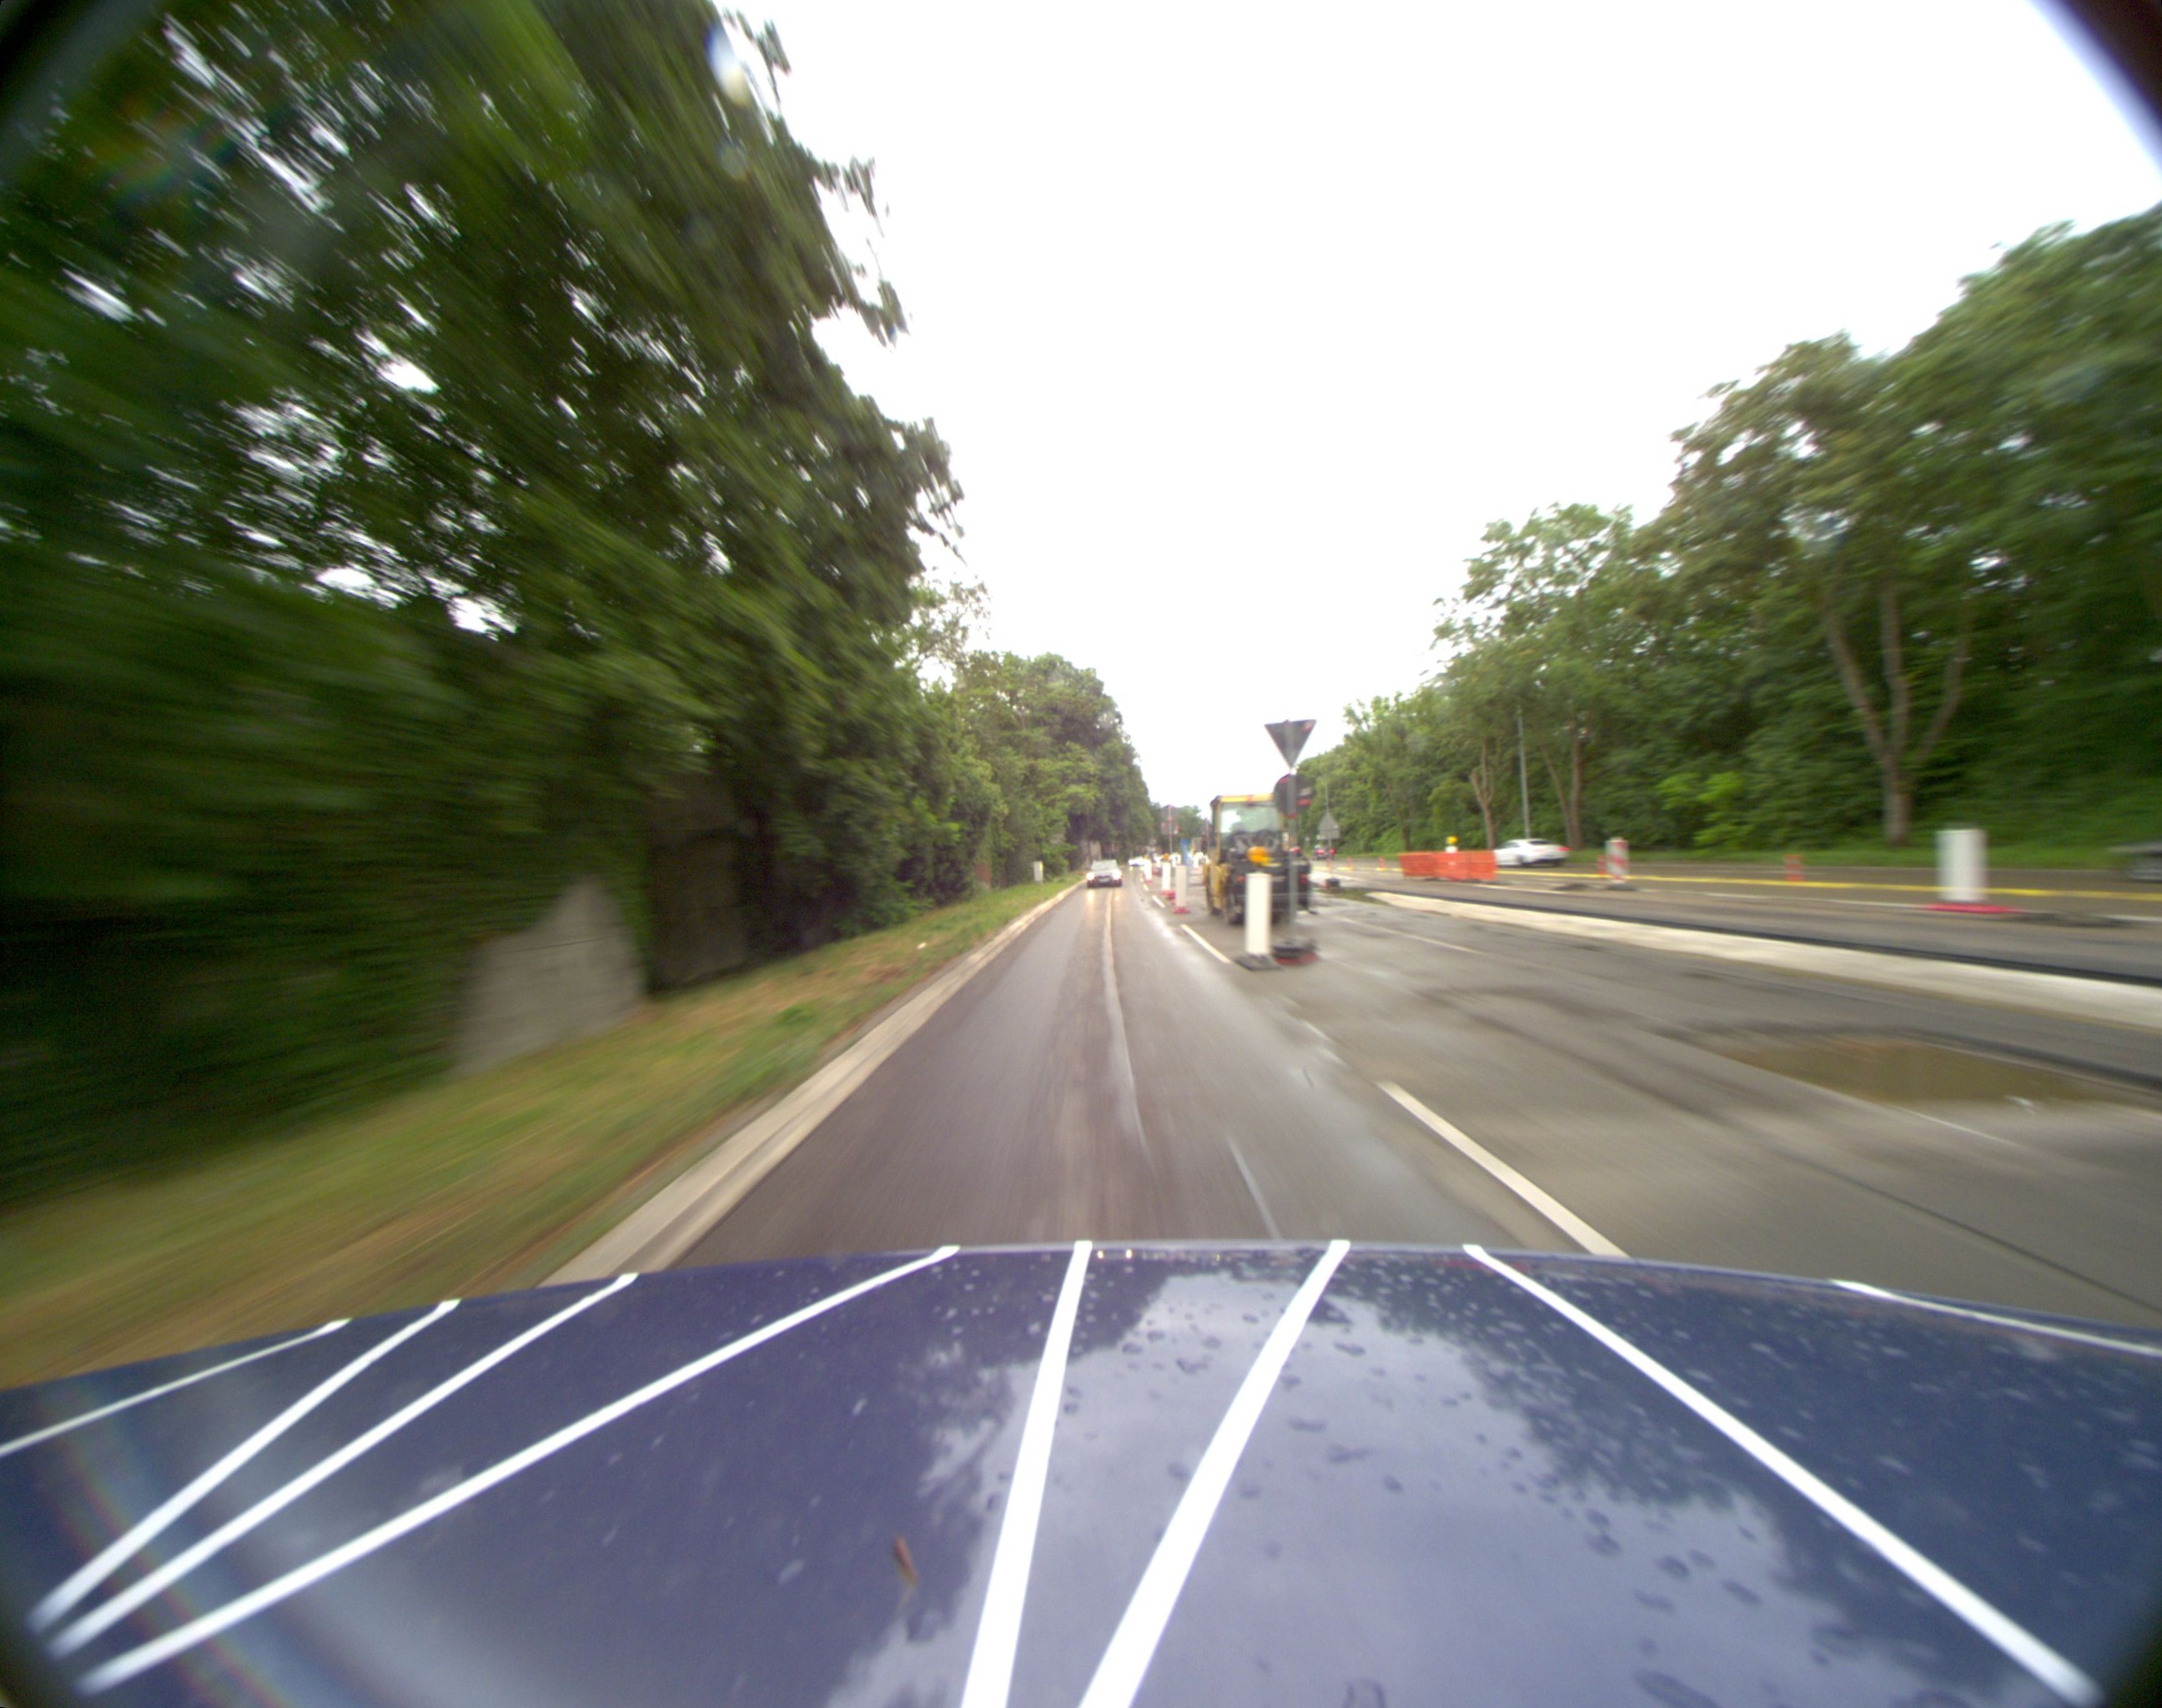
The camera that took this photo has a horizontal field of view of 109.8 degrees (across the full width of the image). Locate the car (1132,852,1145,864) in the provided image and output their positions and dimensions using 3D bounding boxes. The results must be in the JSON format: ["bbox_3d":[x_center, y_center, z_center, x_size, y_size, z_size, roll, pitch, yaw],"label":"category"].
[{"bbox_3d":[8.422,0.538,110.925,1.707,1.681,4.473,-2,1,5],"label":"car"}]

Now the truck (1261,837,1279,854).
[{"bbox_3d":[43.478,-2.023,175.423,3.149,3.809,9.651,-2,1,9],"label":"truck"}]

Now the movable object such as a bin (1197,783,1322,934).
[{"bbox_3d":[4.004,0.085,17.933,1.808,2.968,5.246,-3,0,3],"label":"movable object such as a bin"}]

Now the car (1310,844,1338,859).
[{"bbox_3d":[27.032,-0.248,84.705,1.678,1.604,4.767,-2,0,2],"label":"car"}]

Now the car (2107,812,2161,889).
[{"bbox_3d":[21.331,-0.101,12.778,1.788,1.444,4.681,-3,0,0],"label":"car"}]

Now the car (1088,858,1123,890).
[{"bbox_3d":[1.342,1.034,40.141,1.701,1.477,4.000,-2,1,3],"label":"car"}]

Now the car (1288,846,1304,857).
[{"bbox_3d":[30.498,-0.402,107.725,1.624,1.475,3.609,-2,0,7],"label":"car"}]

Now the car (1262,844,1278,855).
[{"bbox_3d":[28.049,-0.661,112.999,1.678,1.604,3.771,-2,0,5],"label":"car"}]

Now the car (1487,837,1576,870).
[{"bbox_3d":[22.139,-0.030,37.560,1.788,1.418,4.469,-3,0,2],"label":"car"}]
